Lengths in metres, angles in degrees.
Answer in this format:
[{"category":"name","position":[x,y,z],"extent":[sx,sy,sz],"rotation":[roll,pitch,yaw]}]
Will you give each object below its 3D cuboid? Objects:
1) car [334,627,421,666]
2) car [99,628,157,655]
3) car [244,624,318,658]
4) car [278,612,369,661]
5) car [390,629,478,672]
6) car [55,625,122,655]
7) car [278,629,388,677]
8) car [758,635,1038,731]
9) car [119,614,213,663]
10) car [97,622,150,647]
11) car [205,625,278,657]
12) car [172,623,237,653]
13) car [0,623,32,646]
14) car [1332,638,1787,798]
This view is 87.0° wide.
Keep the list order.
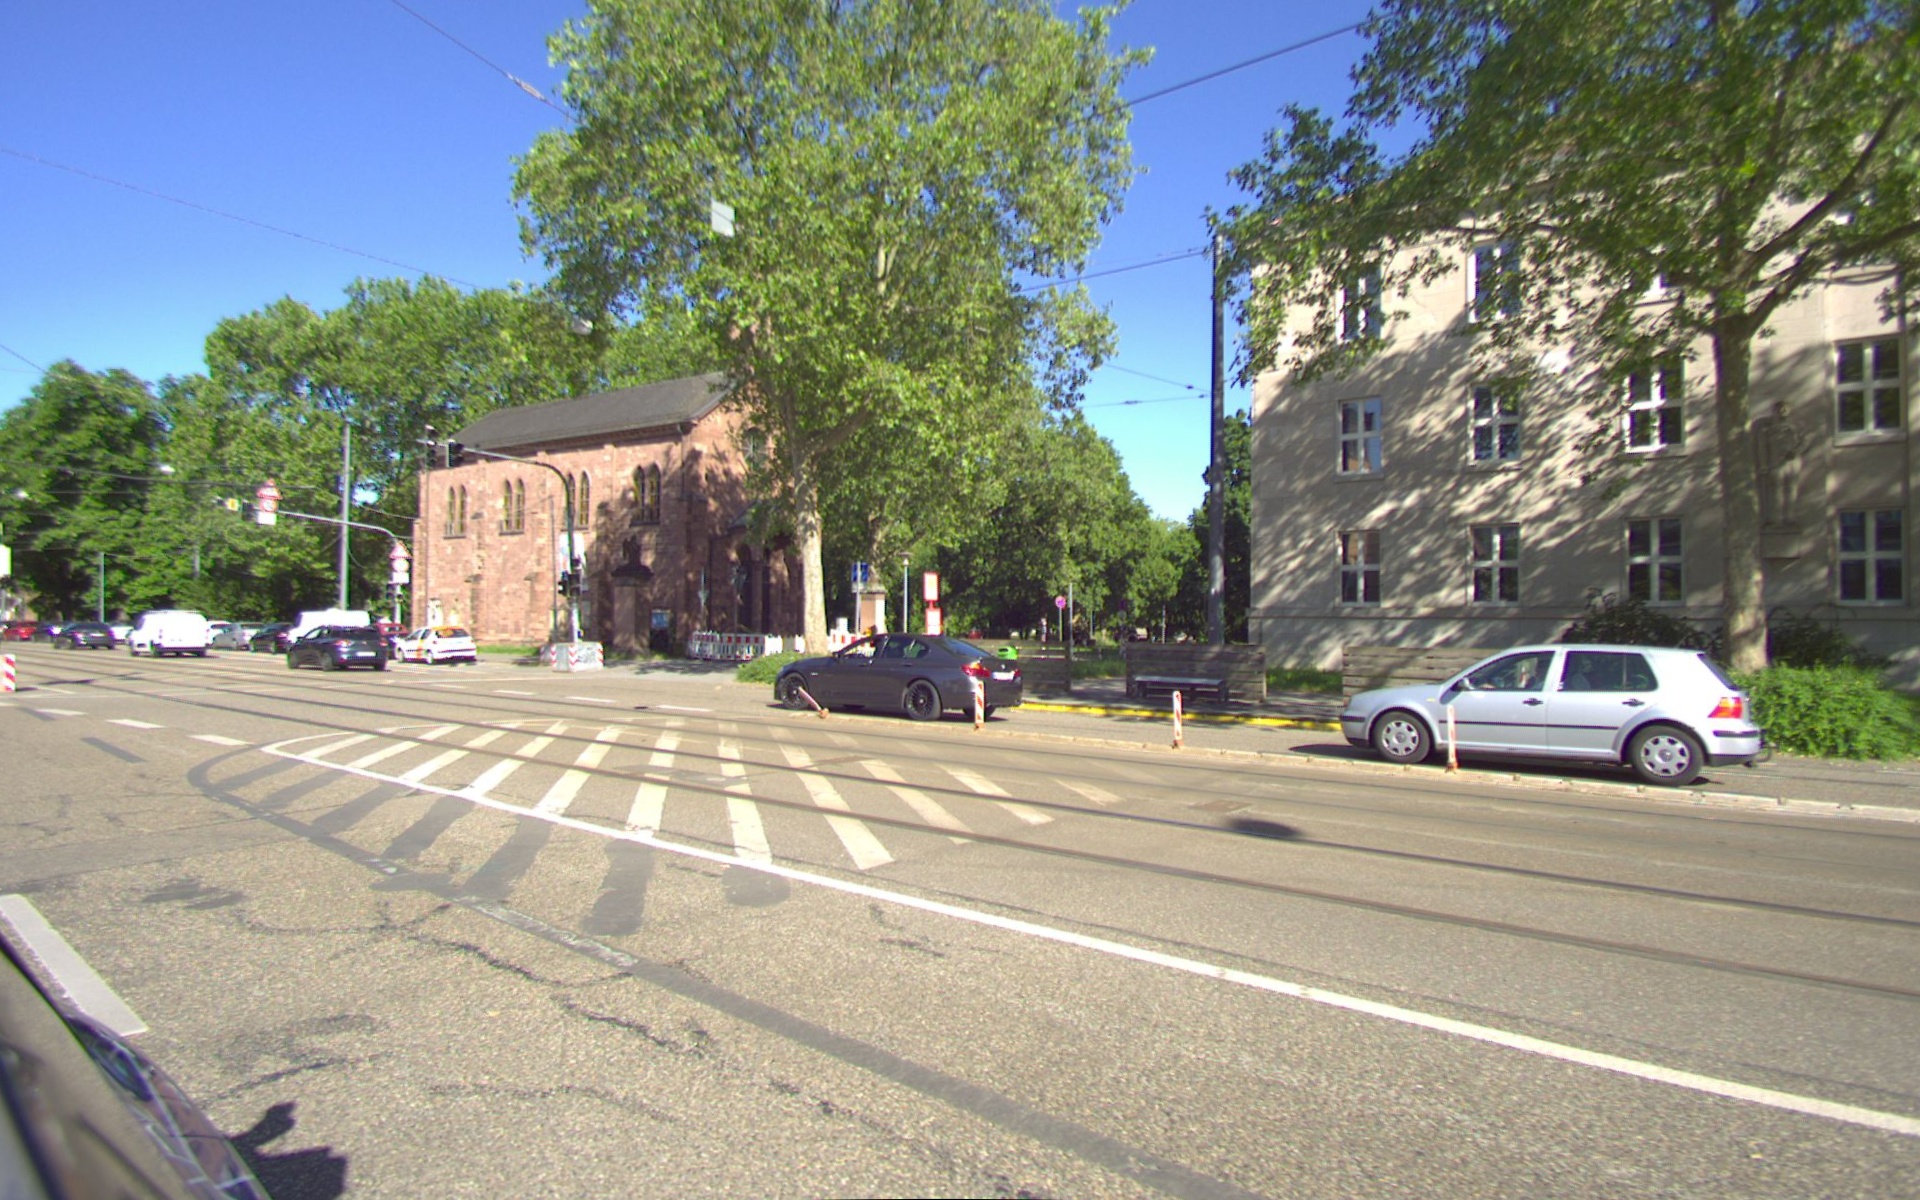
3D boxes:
[{"category":"car","position":[-24.347,1.916,42.265],"extent":[3.854,1.563,1.773],"rotation":[-1,-3,38]},{"category":"car","position":[-49.990,2.461,60.778],"extent":[4.301,1.563,1.773],"rotation":[-1,-3,38]},{"category":"car","position":[-32.663,1.974,48.662],"extent":[3.854,1.563,1.773],"rotation":[-1,-3,38]},{"category":"car","position":[-28.459,1.635,45.220],"extent":[4.584,2.113,1.898],"rotation":[-1,-3,37]},{"category":"car","position":[-20.383,1.939,39.151],"extent":[3.675,1.586,1.756],"rotation":[-2,-4,41]},{"category":"car","position":[-44.512,2.030,51.662],"extent":[4.370,1.440,1.775],"rotation":[-1,-3,38]},{"category":"car","position":[-19.964,1.644,32.166],"extent":[4.081,1.423,1.601],"rotation":[-1,-2,37]},{"category":"car","position":[-1.195,1.387,17.909],"extent":[4.952,1.464,1.813],"rotation":[-1,-4,37]},{"category":"car","position":[-33.056,1.632,42.106],"extent":[4.512,1.906,2.041],"rotation":[-2,-4,39]},{"category":"car","position":[-53.954,2.259,65.255],"extent":[4.301,1.563,1.773],"rotation":[-1,-3,38]},{"category":"car","position":[-36.709,2.087,51.679],"extent":[4.299,1.563,1.774],"rotation":[-1,-3,37]},{"category":"car","position":[-41.149,2.060,55.082],"extent":[4.301,1.563,1.773],"rotation":[-1,-3,38]},{"category":"car","position":[-68.798,2.503,73.211],"extent":[4.301,1.563,1.773],"rotation":[-1,-3,38]},{"category":"car","position":[6.599,1.182,11.395],"extent":[4.167,1.464,1.811],"rotation":[-2,-4,40]}]
